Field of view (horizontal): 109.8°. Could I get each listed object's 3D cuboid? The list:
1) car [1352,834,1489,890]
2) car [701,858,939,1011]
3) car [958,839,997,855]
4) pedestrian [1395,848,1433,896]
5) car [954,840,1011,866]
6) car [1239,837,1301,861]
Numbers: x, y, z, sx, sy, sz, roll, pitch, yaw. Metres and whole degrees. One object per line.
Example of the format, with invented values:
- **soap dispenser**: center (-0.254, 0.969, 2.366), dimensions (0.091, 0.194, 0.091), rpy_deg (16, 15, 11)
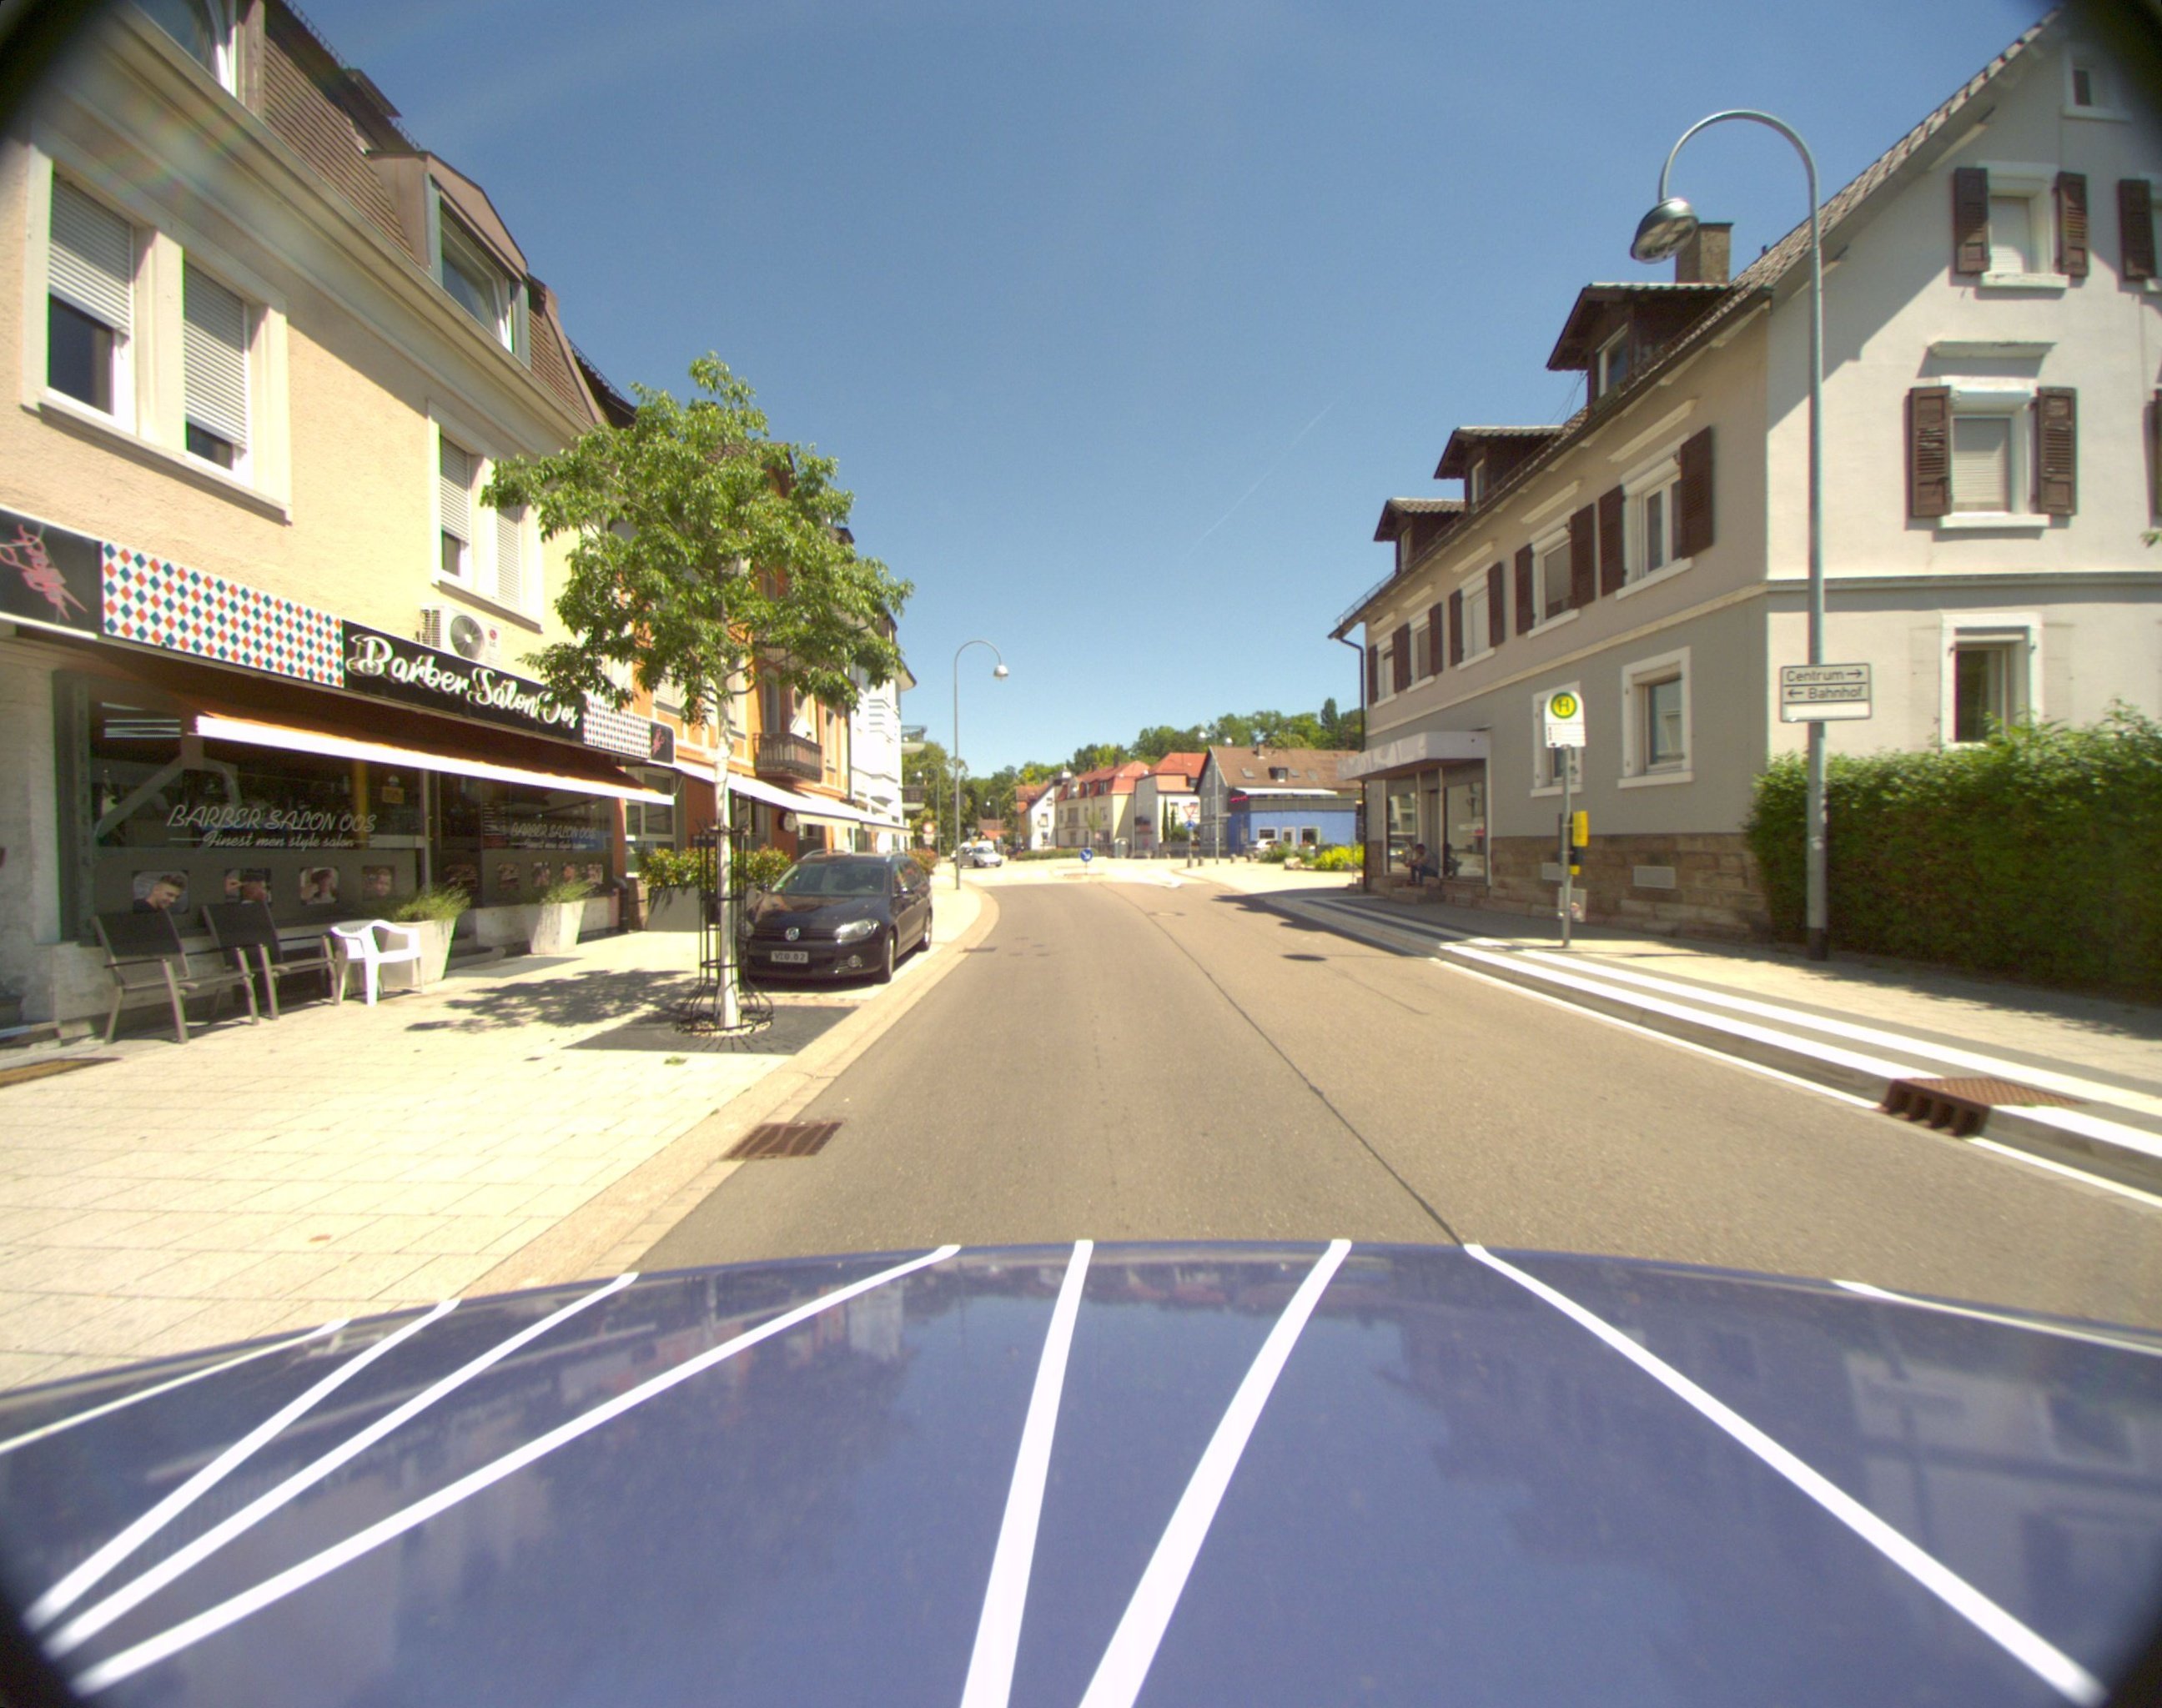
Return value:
- **car**: center (10.923, 0.231, 24.560), dimensions (3.722, 1.652, 1.602), rpy_deg (-1, 1, -4)
- **car**: center (-3.077, 0.839, 9.944), dimensions (1.734, 1.464, 4.322), rpy_deg (1, 1, -2)
- **car**: center (-17.231, -1.229, 126.691), dimensions (6.363, 2.447, 2.305), rpy_deg (-2, 1, -8)
- **pedestrian**: center (7.679, 0.405, 17.513), dimensions (0.598, 1.053, 0.567), rpy_deg (-1, 1, -3)
- **car**: center (-6.639, -0.042, 50.840), dimensions (2.003, 1.587, 4.179), rpy_deg (-3, 2, -35)
- **car**: center (13.384, -0.344, 53.789), dimensions (3.922, 1.599, 1.812), rpy_deg (0, 3, -26)
